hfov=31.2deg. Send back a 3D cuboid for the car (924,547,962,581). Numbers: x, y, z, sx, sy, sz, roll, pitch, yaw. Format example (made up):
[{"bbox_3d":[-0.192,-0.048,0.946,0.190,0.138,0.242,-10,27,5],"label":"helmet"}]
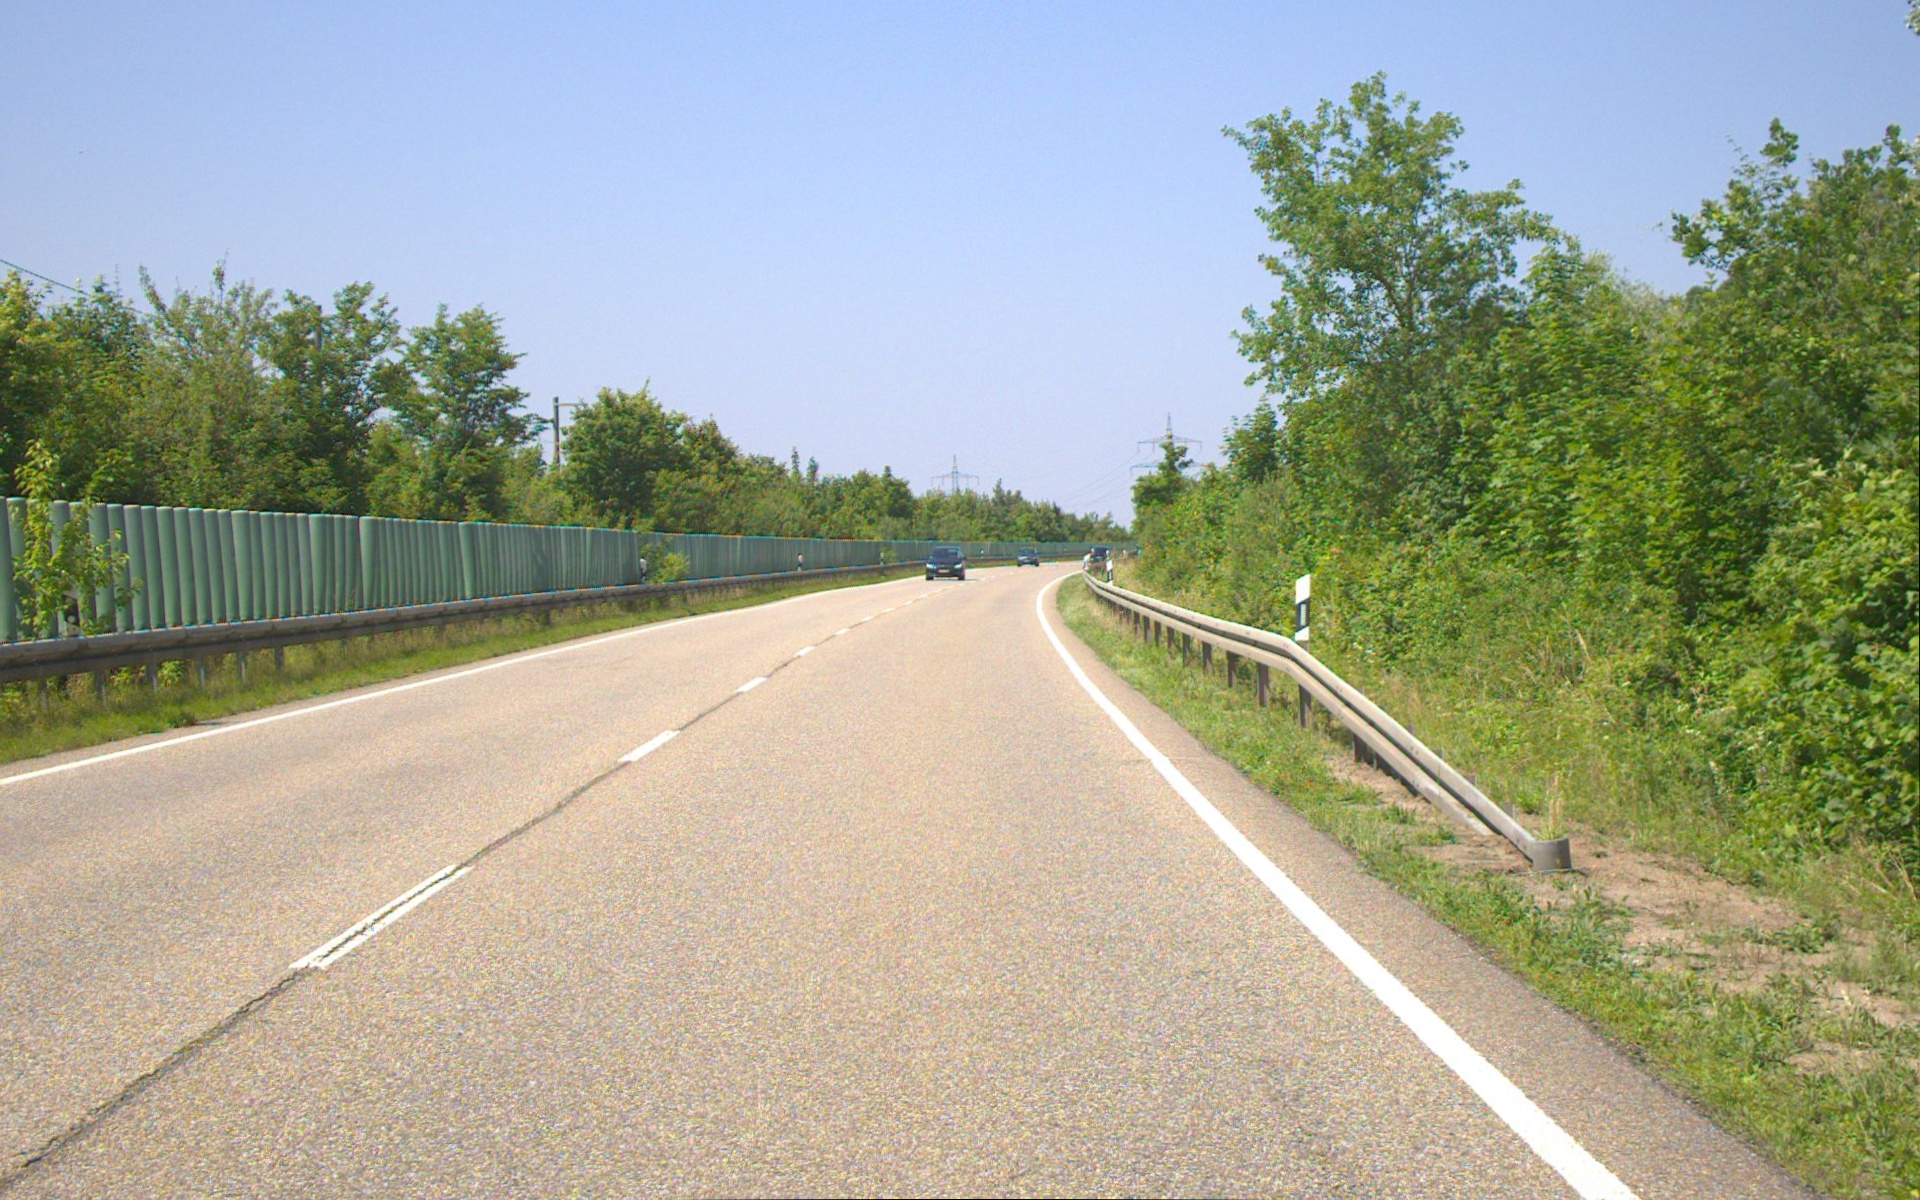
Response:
[{"bbox_3d":[-0.818,-1.733,166.994,1.764,1.634,4.126,0,1,0],"label":"car"}]
